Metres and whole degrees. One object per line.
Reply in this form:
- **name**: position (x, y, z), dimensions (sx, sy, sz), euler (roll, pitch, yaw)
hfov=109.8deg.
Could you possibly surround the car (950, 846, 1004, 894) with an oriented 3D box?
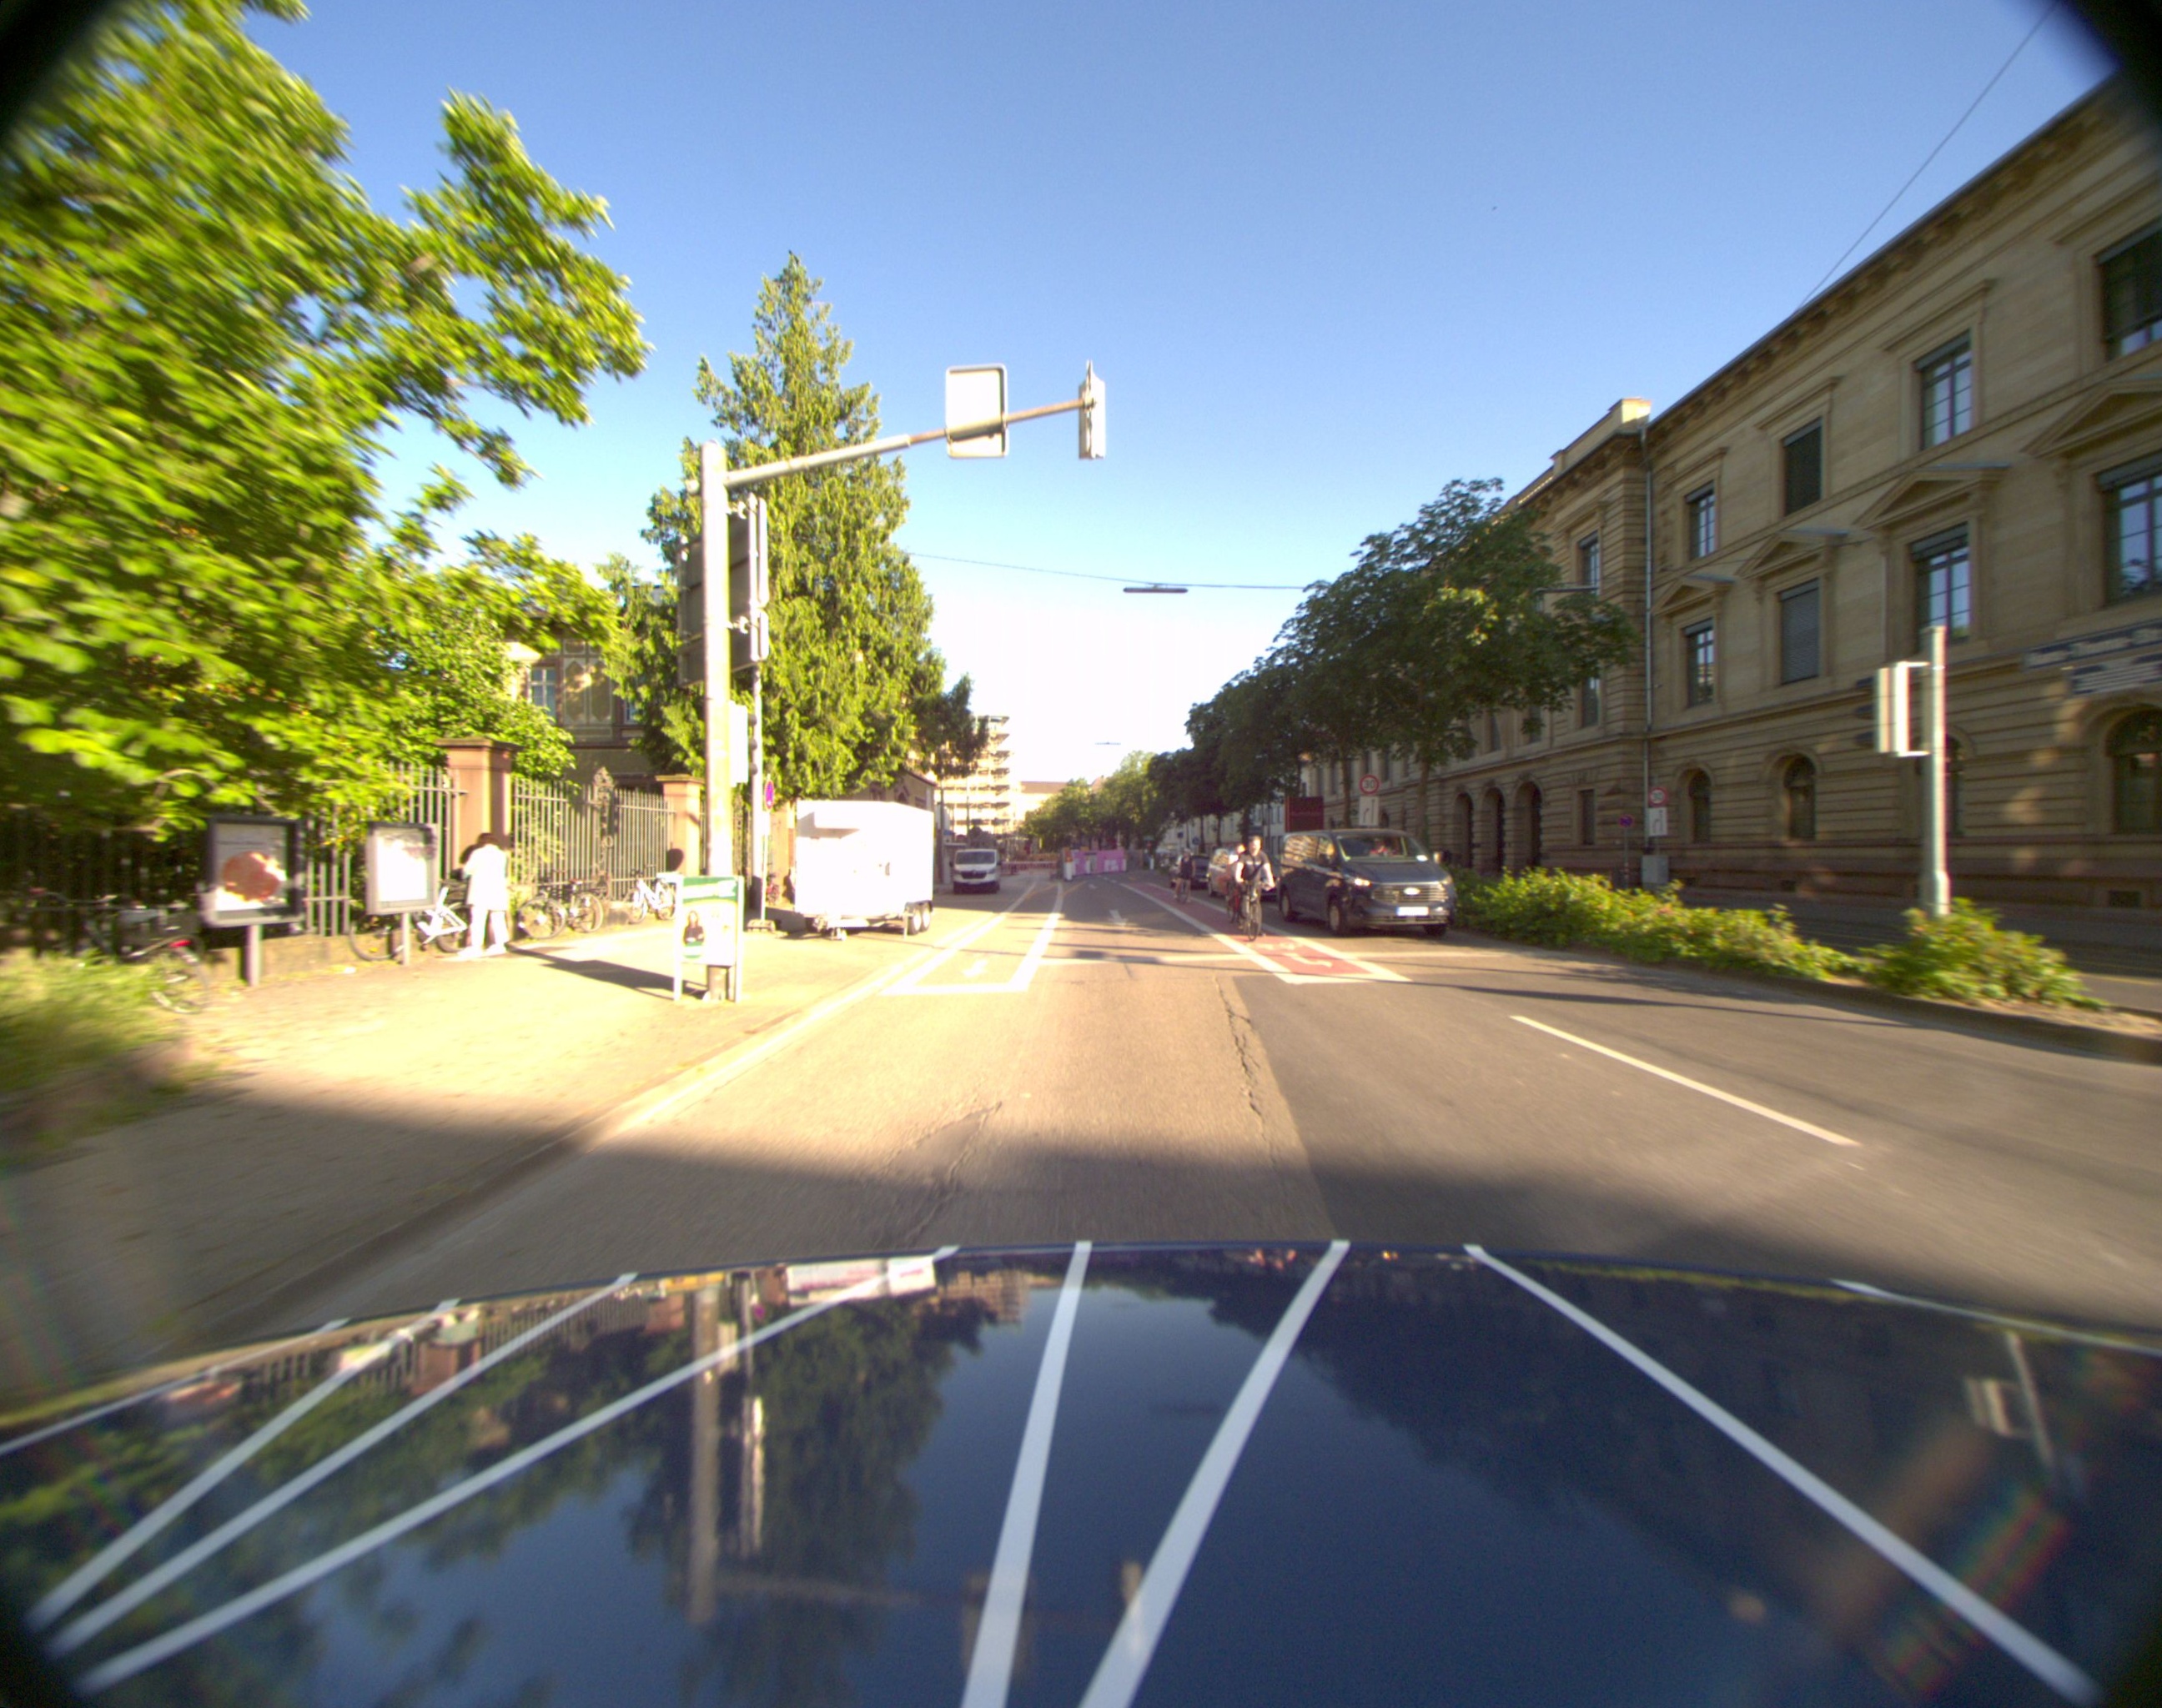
- **car**: position (-4.594, 0.654, 34.438), dimensions (2.020, 1.934, 5.479), euler (-1, 1, -4)

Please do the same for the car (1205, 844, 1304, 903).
- **car**: position (5.499, 0.570, 24.711), dimensions (1.996, 1.739, 4.746), euler (0, 0, -2)

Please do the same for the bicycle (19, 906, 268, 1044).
- **bicycle**: position (-7.646, 0.970, 6.228), dimensions (1.469, 1.033, 0.479), euler (1, 0, 1)

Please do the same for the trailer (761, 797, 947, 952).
- **trailer**: position (-4.175, 0.345, 14.874), dimensions (2.084, 2.513, 4.492), euler (2, 0, 2)

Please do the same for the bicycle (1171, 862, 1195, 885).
- **bicycle**: position (5.071, 0.966, 38.079), dimensions (0.872, 1.036, 2.453), euler (-2, 0, 1)

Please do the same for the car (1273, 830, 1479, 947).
- **car**: position (5.444, 0.538, 14.892), dimensions (2.073, 1.904, 5.032), euler (0, 1, 0)

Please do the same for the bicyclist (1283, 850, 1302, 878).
- **bicyclist**: position (14.223, 0.654, 51.089), dimensions (0.883, 1.824, 1.286), euler (3, 1, 1)

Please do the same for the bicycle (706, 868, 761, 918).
- **bicycle**: position (-8.349, 0.912, 18.333), dimensions (0.396, 1.123, 1.928), euler (0, 0, 1)

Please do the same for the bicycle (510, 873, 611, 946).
- **bicycle**: position (-8.742, 0.897, 12.845), dimensions (0.399, 1.099, 1.681), euler (2, 0, 6)

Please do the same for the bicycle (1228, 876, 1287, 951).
- **bicycle**: position (3.051, 0.990, 13.327), dimensions (0.643, 1.148, 2.077), euler (-1, 0, 3)

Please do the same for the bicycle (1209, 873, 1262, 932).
- **bicycle**: position (3.270, 1.001, 16.281), dimensions (0.830, 1.136, 1.970), euler (-1, 0, 3)

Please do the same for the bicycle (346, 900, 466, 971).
- **bicycle**: position (-8.979, 1.058, 10.174), dimensions (0.264, 0.789, 1.451), euler (0, 0, 2)

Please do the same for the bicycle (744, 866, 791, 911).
- **bicycle**: position (-8.652, 0.931, 21.035), dimensions (0.419, 1.149, 1.827), euler (2, 0, 3)

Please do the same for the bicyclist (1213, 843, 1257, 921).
- **bicyclist**: position (3.242, 0.579, 16.081), dimensions (0.804, 1.599, 0.825), euler (0, 1, 3)

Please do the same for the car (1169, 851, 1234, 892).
- **car**: position (5.159, 0.707, 33.180), dimensions (1.999, 1.648, 4.735), euler (0, 0, -2)

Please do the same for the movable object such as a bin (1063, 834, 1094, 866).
- **movable object such as a bin**: position (-0.312, -0.398, 81.393), dimensions (3.170, 3.281, 4.384), euler (0, 0, -2)

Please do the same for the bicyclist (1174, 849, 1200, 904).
- **bicyclist**: position (3.253, 0.681, 23.447), dimensions (0.674, 1.643, 0.887), euler (-1, 1, 1)

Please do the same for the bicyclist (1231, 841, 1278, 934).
- **bicyclist**: position (3.055, 0.570, 13.423), dimensions (0.671, 1.599, 0.825), euler (0, 1, 3)

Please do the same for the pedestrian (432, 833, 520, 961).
- **pedestrian**: position (-8.578, 0.588, 10.802), dimensions (0.640, 1.758, 0.738), euler (0, 0, 4)

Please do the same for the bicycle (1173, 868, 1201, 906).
- **bicycle**: position (3.264, 1.005, 23.511), dimensions (0.670, 1.066, 1.753), euler (-1, 0, 2)

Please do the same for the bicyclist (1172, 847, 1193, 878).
- **bicyclist**: position (5.079, 0.430, 38.204), dimensions (0.870, 1.514, 1.231), euler (-2, 0, 0)

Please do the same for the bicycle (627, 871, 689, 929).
- **bicycle**: position (-8.678, 0.916, 15.654), dimensions (0.274, 1.099, 1.532), euler (2, 0, 6)
